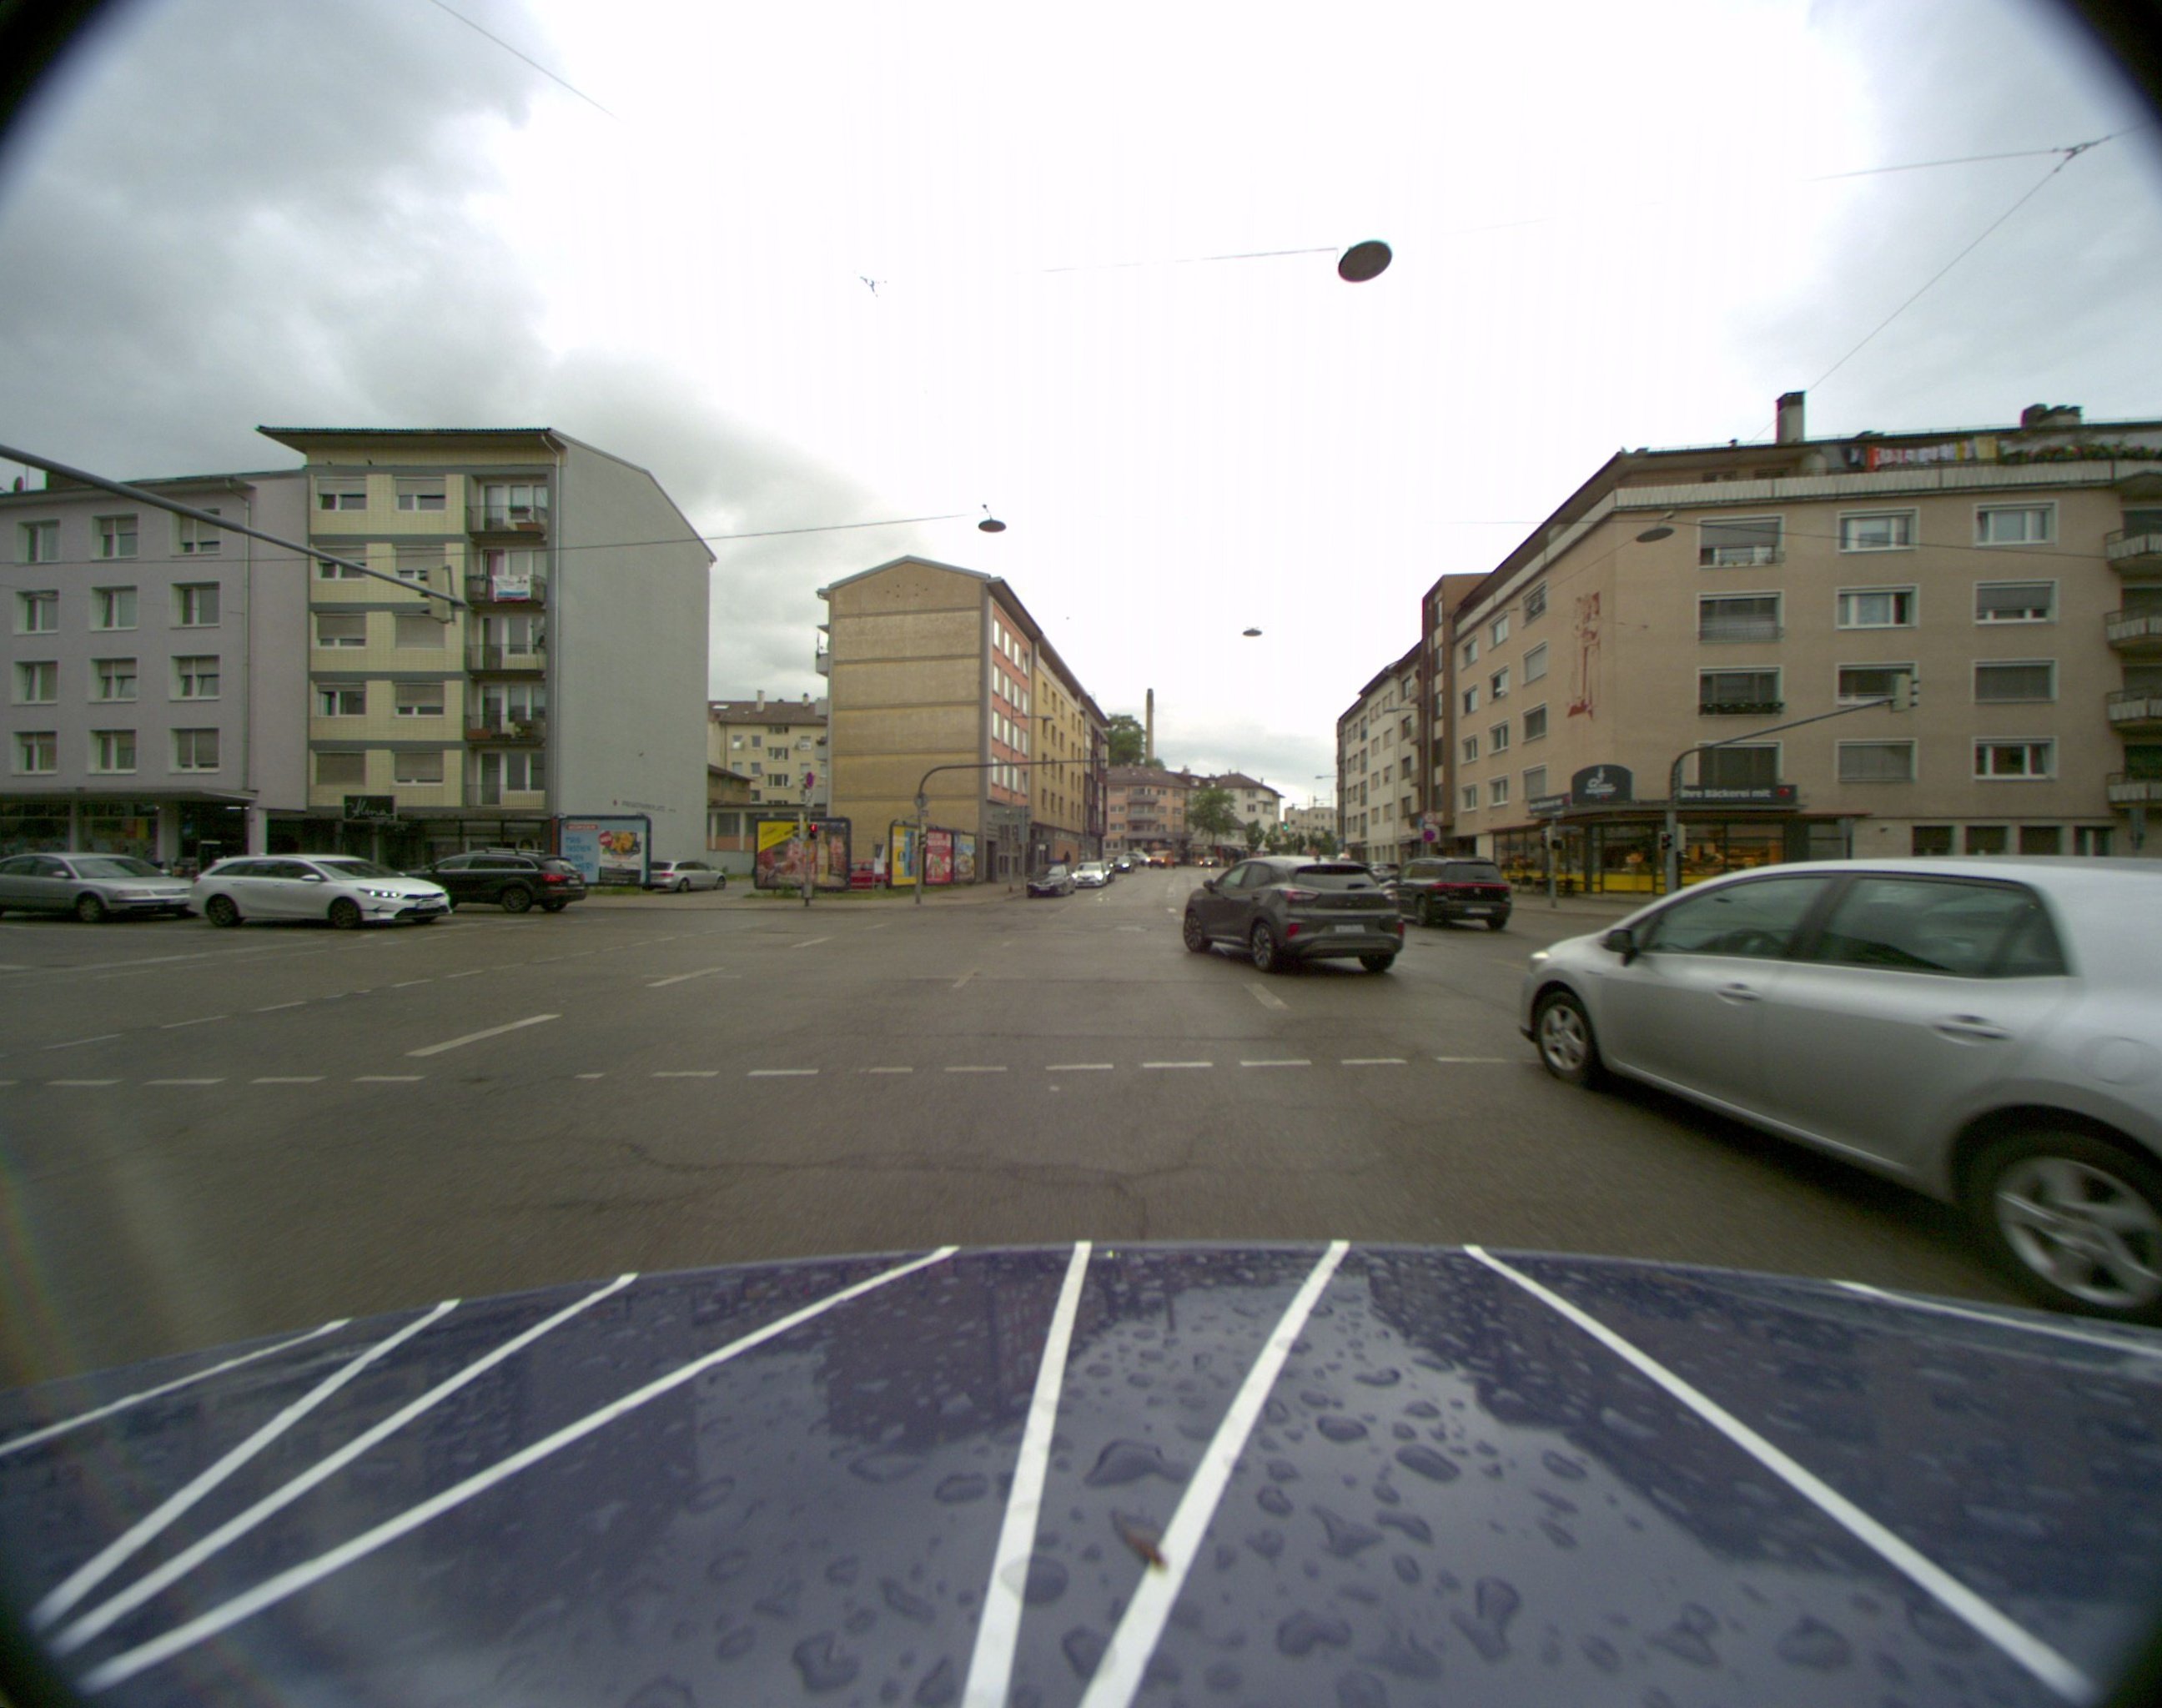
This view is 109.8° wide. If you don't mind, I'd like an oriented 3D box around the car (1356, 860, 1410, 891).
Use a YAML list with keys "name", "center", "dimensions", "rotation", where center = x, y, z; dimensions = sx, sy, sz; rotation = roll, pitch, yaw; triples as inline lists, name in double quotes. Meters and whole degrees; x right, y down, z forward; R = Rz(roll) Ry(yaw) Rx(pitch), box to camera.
- name: "car"
  center: [17.214, 1.181, 43.578]
  dimensions: [1.911, 1.545, 4.633]
  rotation: [2, 1, 10]

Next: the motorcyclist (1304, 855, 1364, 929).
- name: "motorcyclist"
  center: [5.286, 0.779, 15.914]
  dimensions: [0.917, 1.485, 0.864]
  rotation: [-1, 1, -8]

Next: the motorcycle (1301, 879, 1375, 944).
- name: "motorcycle"
  center: [5.299, 1.150, 15.798]
  dimensions: [0.589, 1.184, 2.100]
  rotation: [-1, 1, -8]

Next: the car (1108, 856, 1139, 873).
- name: "car"
  center: [3.792, 0.875, 67.157]
  dimensions: [1.809, 1.332, 4.282]
  rotation: [2, 1, 16]

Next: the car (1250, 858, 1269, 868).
- name: "car"
  center: [27.493, 1.388, 117.186]
  dimensions: [1.810, 1.334, 4.008]
  rotation: [-1, 0, 29]

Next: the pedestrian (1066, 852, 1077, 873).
- name: "pedestrian"
  center: [-0.794, 0.750, 64.848]
  dimensions: [0.674, 1.777, 1.096]
  rotation: [0, 0, 11]

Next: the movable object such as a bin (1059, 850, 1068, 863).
- name: "movable object such as a bin"
  center: [-1.539, 0.216, 65.530]
  dimensions: [0.682, 1.070, 0.669]
  rotation: [1, 1, 8]

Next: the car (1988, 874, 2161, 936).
- name: "car"
  center: [24.818, 1.183, 17.980]
  dimensions: [4.337, 1.368, 2.047]
  rotation: [0, -1, -1]

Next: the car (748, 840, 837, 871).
- name: "car"
  center: [-16.930, 0.095, 44.618]
  dimensions: [4.767, 1.679, 2.160]
  rotation: [-2, 0, 26]

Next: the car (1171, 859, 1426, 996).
- name: "car"
  center: [2.878, 0.891, 11.157]
  dimensions: [1.863, 1.544, 4.221]
  rotation: [1, 0, -11]

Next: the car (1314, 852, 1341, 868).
- name: "car"
  center: [33.899, 0.774, 104.296]
  dimensions: [2.120, 2.003, 5.138]
  rotation: [-1, 1, 34]

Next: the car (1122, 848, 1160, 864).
- name: "car"
  center: [7.432, 0.231, 94.521]
  dimensions: [2.004, 1.711, 4.783]
  rotation: [2, 2, -37]

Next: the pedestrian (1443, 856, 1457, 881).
- name: "pedestrian"
  center: [23.509, 0.918, 48.428]
  dimensions: [0.544, 1.574, 0.669]
  rotation: [0, 1, -6]

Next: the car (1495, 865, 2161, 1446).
- name: "car"
  center: [4.030, 0.892, 3.555]
  dimensions: [1.939, 1.518, 4.134]
  rotation: [1, 1, 1]

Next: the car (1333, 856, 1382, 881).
- name: "car"
  center: [18.701, 0.952, 51.548]
  dimensions: [1.998, 1.468, 4.520]
  rotation: [1, 1, 5]

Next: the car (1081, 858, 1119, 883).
- name: "car"
  center: [1.321, 1.083, 50.964]
  dimensions: [2.038, 1.380, 5.295]
  rotation: [1, 2, 7]

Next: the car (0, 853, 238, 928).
- name: "car"
  center: [-21.663, 0.741, 16.723]
  dimensions: [4.518, 1.477, 1.846]
  rotation: [1, 0, 6]

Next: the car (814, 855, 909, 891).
- name: "car"
  center: [-9.928, 0.842, 34.581]
  dimensions: [3.661, 1.542, 2.088]
  rotation: [1, 0, 1]

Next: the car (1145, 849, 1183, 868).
- name: "car"
  center: [9.363, 0.444, 85.042]
  dimensions: [2.194, 2.074, 5.944]
  rotation: [0, 0, 28]

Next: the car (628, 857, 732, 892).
- name: "car"
  center: [-17.398, 0.852, 33.203]
  dimensions: [1.878, 1.431, 4.334]
  rotation: [1, 0, 7]

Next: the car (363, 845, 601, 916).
- name: "car"
  center: [-16.757, 0.762, 21.526]
  dimensions: [4.899, 1.858, 2.027]
  rotation: [1, -2, -7]

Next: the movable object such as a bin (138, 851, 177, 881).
- name: "movable object such as a bin"
  center: [-35.420, 0.450, 29.153]
  dimensions: [0.640, 1.131, 0.698]
  rotation: [-1, 0, 7]

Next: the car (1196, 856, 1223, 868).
- name: "car"
  center: [16.854, 1.004, 99.552]
  dimensions: [1.839, 1.433, 4.008]
  rotation: [-2, 0, 36]

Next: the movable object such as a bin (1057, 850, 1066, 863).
- name: "movable object such as a bin"
  center: [-1.642, 0.213, 64.850]
  dimensions: [0.682, 1.070, 0.669]
  rotation: [1, 1, 8]

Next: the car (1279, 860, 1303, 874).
- name: "car"
  center: [26.900, 1.624, 97.205]
  dimensions: [1.863, 1.637, 4.262]
  rotation: [2, 1, 31]

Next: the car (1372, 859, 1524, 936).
- name: "car"
  center: [8.728, 0.947, 18.532]
  dimensions: [1.825, 1.630, 4.374]
  rotation: [1, 0, 4]

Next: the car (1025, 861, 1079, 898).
- name: "car"
  center: [-1.275, 1.141, 35.264]
  dimensions: [1.787, 1.488, 4.058]
  rotation: [-2, 1, 7]

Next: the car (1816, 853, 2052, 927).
- name: "car"
  center: [26.692, 1.076, 23.942]
  dimensions: [4.862, 2.091, 2.046]
  rotation: [1, 3, 3]

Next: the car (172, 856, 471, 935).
- name: "car"
  center: [-15.938, 0.816, 16.097]
  dimensions: [4.660, 1.477, 1.920]
  rotation: [1, 0, 5]

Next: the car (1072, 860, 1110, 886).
- name: "car"
  center: [0.607, 1.065, 42.968]
  dimensions: [1.679, 1.395, 4.003]
  rotation: [0, -1, 8]

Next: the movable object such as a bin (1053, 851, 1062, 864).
- name: "movable object such as a bin"
  center: [-1.943, 0.276, 62.803]
  dimensions: [0.682, 1.070, 0.669]
  rotation: [1, 1, 8]
